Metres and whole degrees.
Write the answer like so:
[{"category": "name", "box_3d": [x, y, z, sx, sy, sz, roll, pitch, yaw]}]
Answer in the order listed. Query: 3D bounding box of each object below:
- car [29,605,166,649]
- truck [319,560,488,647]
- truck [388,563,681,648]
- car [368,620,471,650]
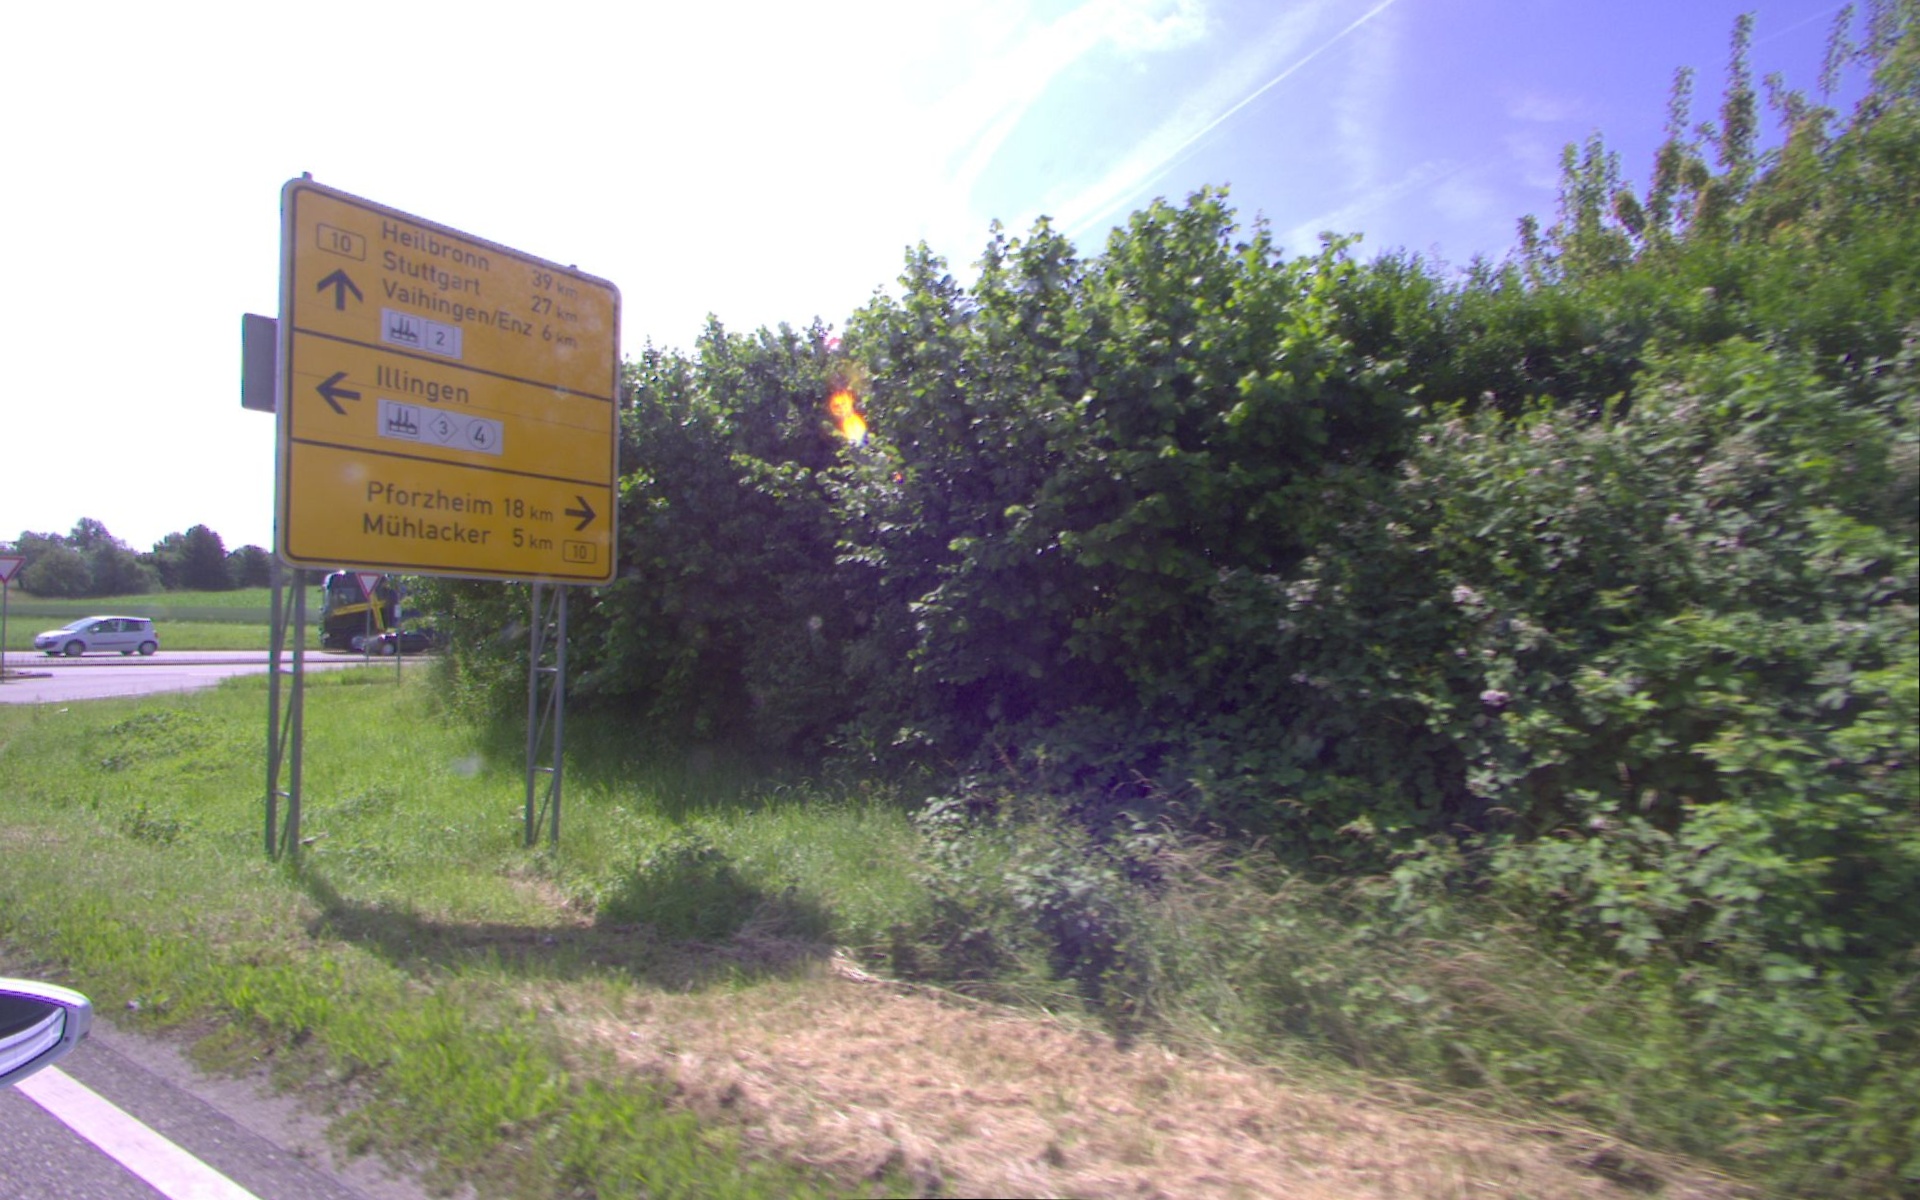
[{"category": "car", "box_3d": [-34.776, 1.102, 40.475, 1.732, 1.654, 3.828, -1, -2, 25]}, {"category": "truck", "box_3d": [-27.548, 0.272, 49.716, 6.875, 4.046, 3.003, 2, -1, -39]}, {"category": "truck", "box_3d": [-22.410, 0.471, 53.739, 14.155, 4.031, 3.005, 2, -1, -36]}, {"category": "car", "box_3d": [-24.868, 1.614, 46.151, 3.955, 1.326, 1.753, 2, -3, -39]}]
